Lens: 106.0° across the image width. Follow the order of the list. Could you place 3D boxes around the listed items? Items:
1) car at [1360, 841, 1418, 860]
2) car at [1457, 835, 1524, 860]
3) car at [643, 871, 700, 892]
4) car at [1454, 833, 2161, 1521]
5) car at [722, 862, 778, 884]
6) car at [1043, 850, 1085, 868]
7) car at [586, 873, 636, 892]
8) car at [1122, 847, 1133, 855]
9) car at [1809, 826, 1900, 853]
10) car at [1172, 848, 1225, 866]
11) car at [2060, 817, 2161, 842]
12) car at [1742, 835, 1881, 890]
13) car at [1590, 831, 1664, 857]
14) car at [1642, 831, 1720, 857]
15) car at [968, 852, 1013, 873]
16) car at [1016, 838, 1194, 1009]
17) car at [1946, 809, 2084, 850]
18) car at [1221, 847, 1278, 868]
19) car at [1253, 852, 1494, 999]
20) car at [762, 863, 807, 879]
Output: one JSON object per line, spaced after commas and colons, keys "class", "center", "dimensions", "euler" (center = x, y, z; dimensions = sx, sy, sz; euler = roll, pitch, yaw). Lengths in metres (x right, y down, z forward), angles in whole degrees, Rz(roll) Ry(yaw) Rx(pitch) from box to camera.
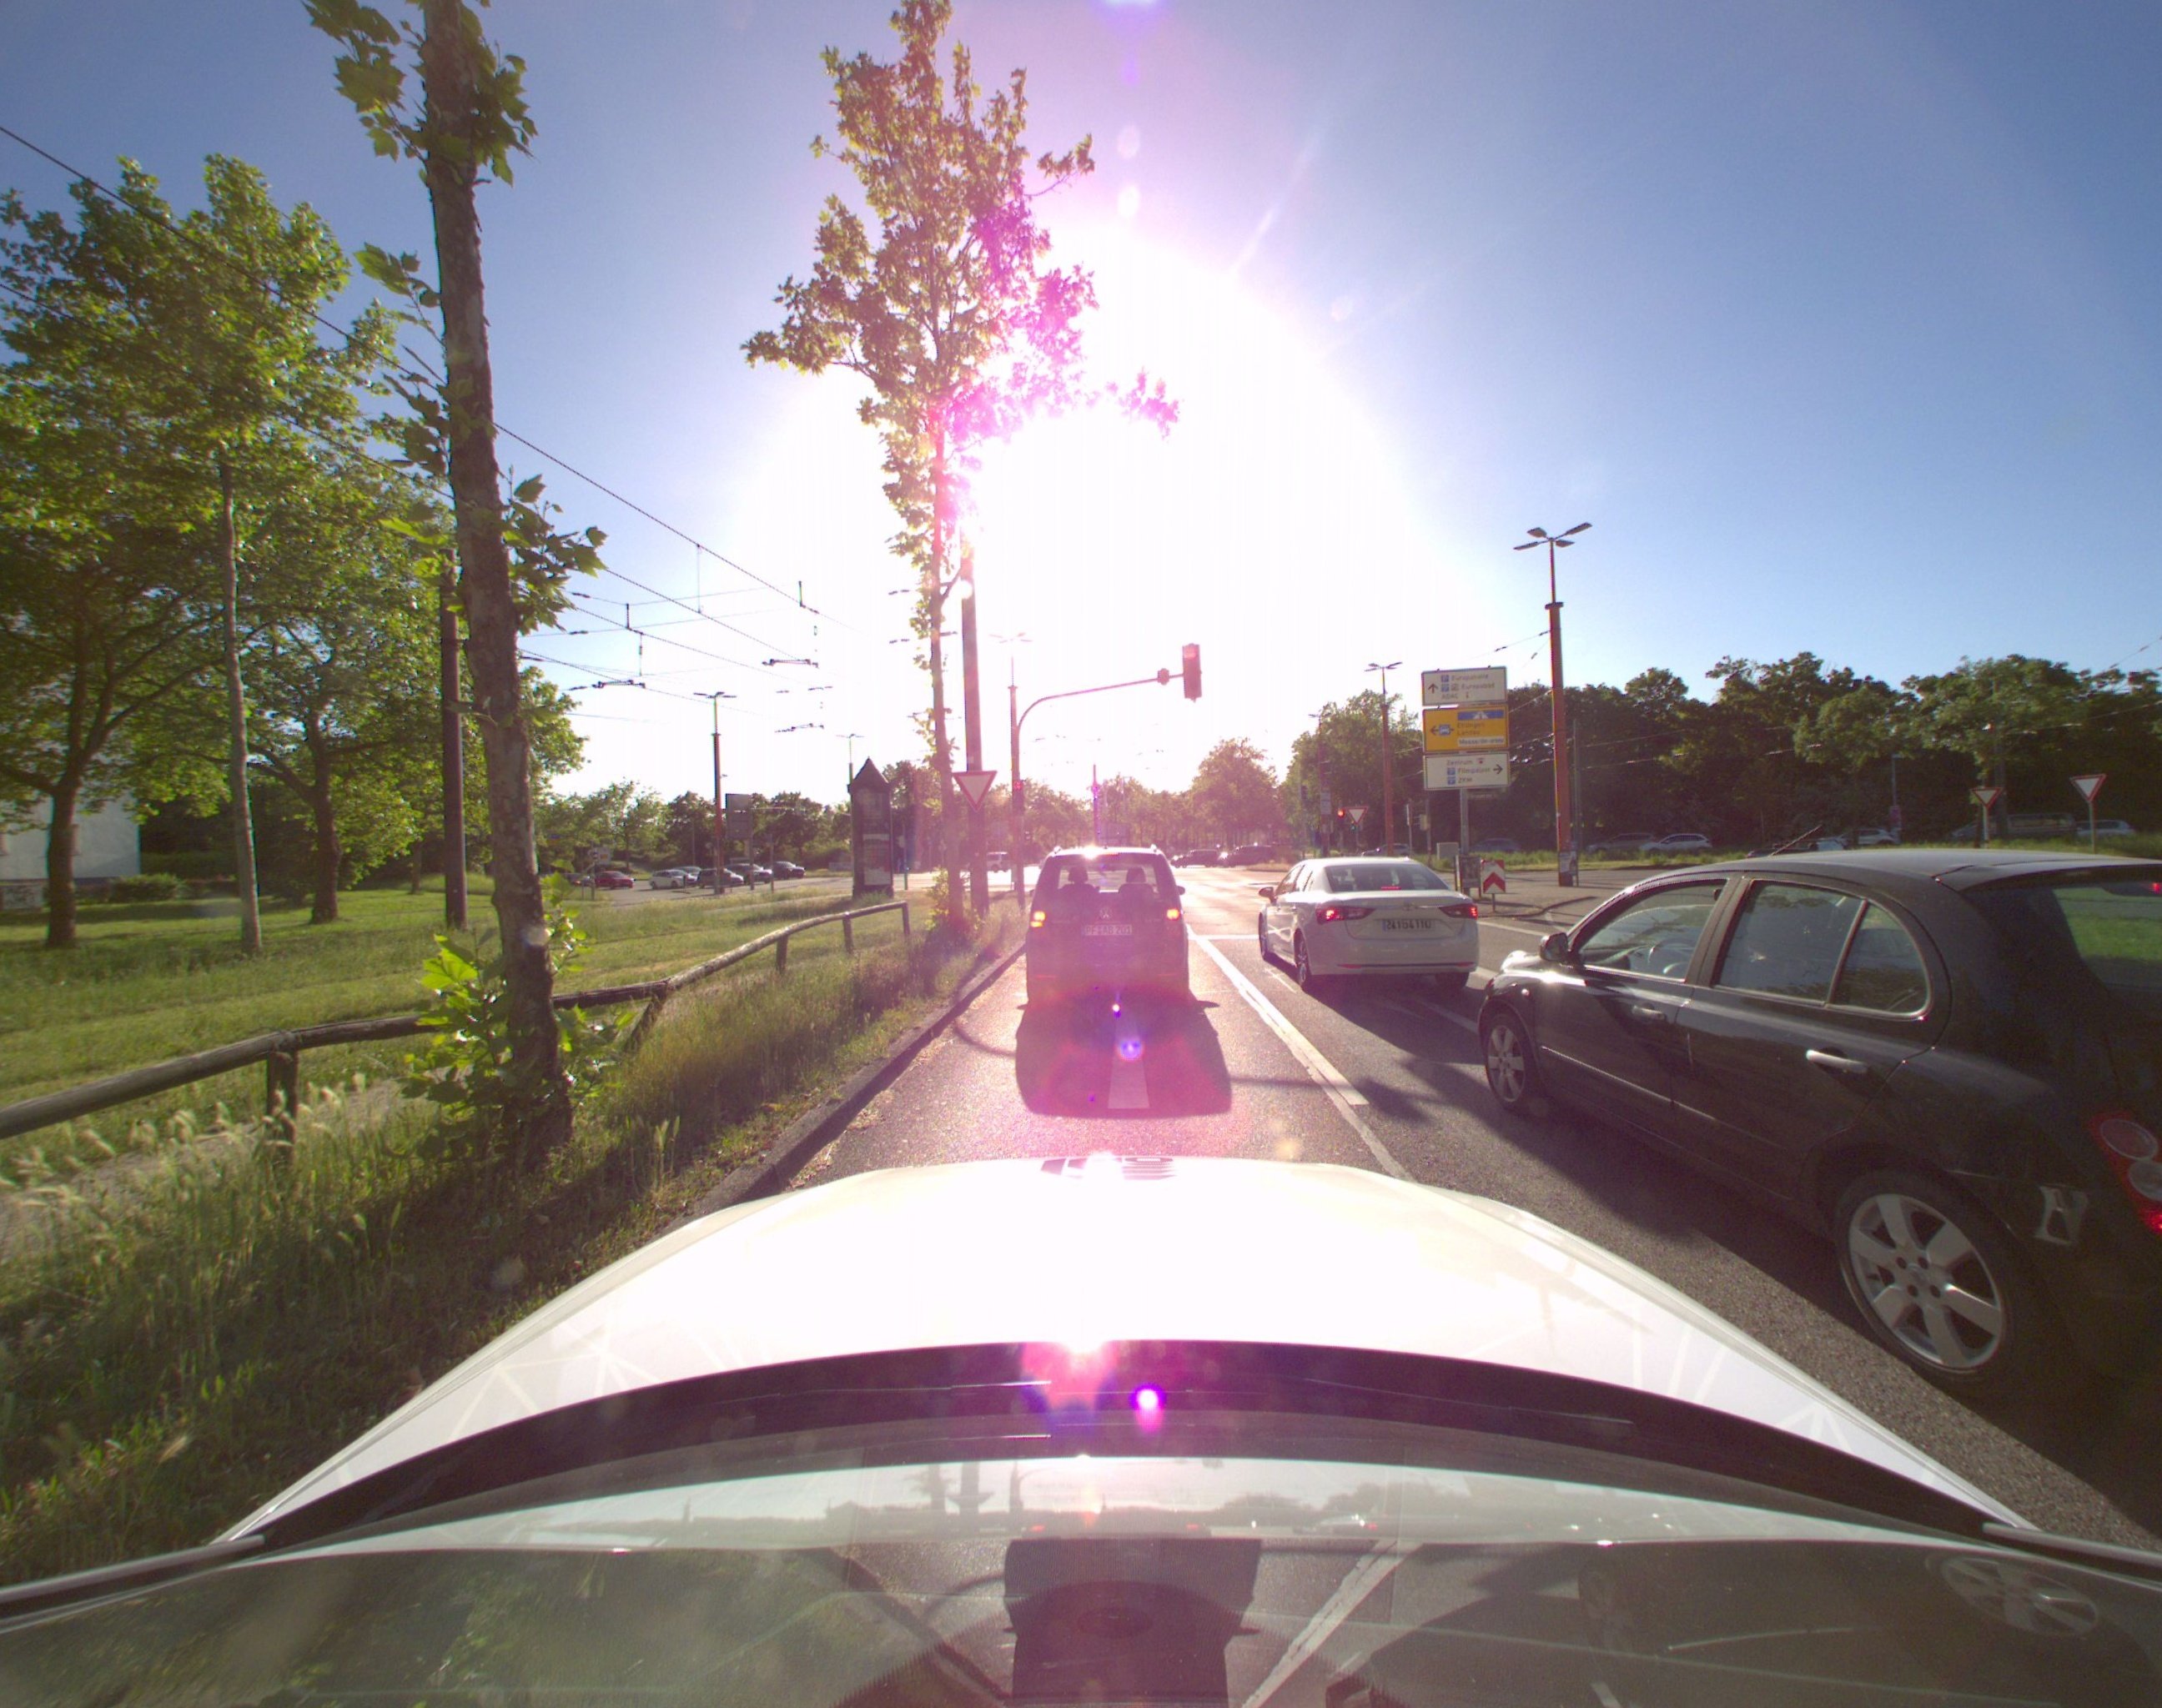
{"class": "car", "center": [23.705, -0.275, 62.721], "dimensions": [3.926, 1.441, 1.697], "euler": [0, -1, 29]}
{"class": "car", "center": [28.426, -0.414, 56.533], "dimensions": [4.080, 1.598, 1.840], "euler": [-2, 0, 29]}
{"class": "car", "center": [-32.454, 2.176, 64.568], "dimensions": [4.135, 1.612, 1.880], "euler": [-2, 0, 27]}
{"class": "car", "center": [3.221, 0.697, 3.565], "dimensions": [1.647, 1.500, 3.617], "euler": [-1, 0, 2]}
{"class": "car", "center": [-26.530, 1.544, 65.341], "dimensions": [3.950, 1.644, 2.012], "euler": [-2, 0, 26]}
{"class": "car", "center": [-1.593, 0.498, 76.532], "dimensions": [3.608, 1.655, 1.690], "euler": [0, -1, 27]}
{"class": "car", "center": [-39.404, 2.406, 68.246], "dimensions": [3.949, 1.513, 1.743], "euler": [-2, 0, 27]}
{"class": "car", "center": [9.864, -0.639, 171.126], "dimensions": [1.904, 1.635, 4.010], "euler": [0, 0, 9]}
{"class": "car", "center": [47.088, -0.879, 49.674], "dimensions": [3.700, 1.473, 1.610], "euler": [-2, 0, 28]}
{"class": "car", "center": [10.159, 0.265, 70.367], "dimensions": [4.082, 1.511, 1.834], "euler": [0, -1, 28]}
{"class": "car", "center": [56.836, -1.318, 44.607], "dimensions": [3.792, 1.264, 1.613], "euler": [0, -1, 28]}
{"class": "car", "center": [21.641, 0.193, 24.095], "dimensions": [4.141, 1.450, 1.724], "euler": [-2, 1, -27]}
{"class": "car", "center": [37.557, -0.668, 56.171], "dimensions": [4.080, 1.644, 1.864], "euler": [-2, 0, 29]}
{"class": "car", "center": [37.793, -0.625, 51.447], "dimensions": [3.782, 1.523, 1.706], "euler": [-2, 0, 31]}
{"class": "car", "center": [-8.402, 0.765, 75.813], "dimensions": [3.797, 1.890, 1.774], "euler": [0, -1, 25]}
{"class": "car", "center": [0.291, 0.683, 9.930], "dimensions": [1.694, 1.621, 3.898], "euler": [-2, 0, 1]}
{"class": "car", "center": [50.608, -1.274, 44.285], "dimensions": [4.526, 2.013, 2.013], "euler": [-2, 0, 33]}
{"class": "car", "center": [13.437, 0.285, 64.916], "dimensions": [4.139, 1.644, 1.770], "euler": [0, -1, 28]}
{"class": "car", "center": [3.326, 0.709, 10.149], "dimensions": [1.713, 1.438, 4.202], "euler": [-1, 0, 3]}
{"class": "car", "center": [-26.530, 1.485, 72.849], "dimensions": [3.948, 1.330, 1.709], "euler": [-2, 0, 33]}
